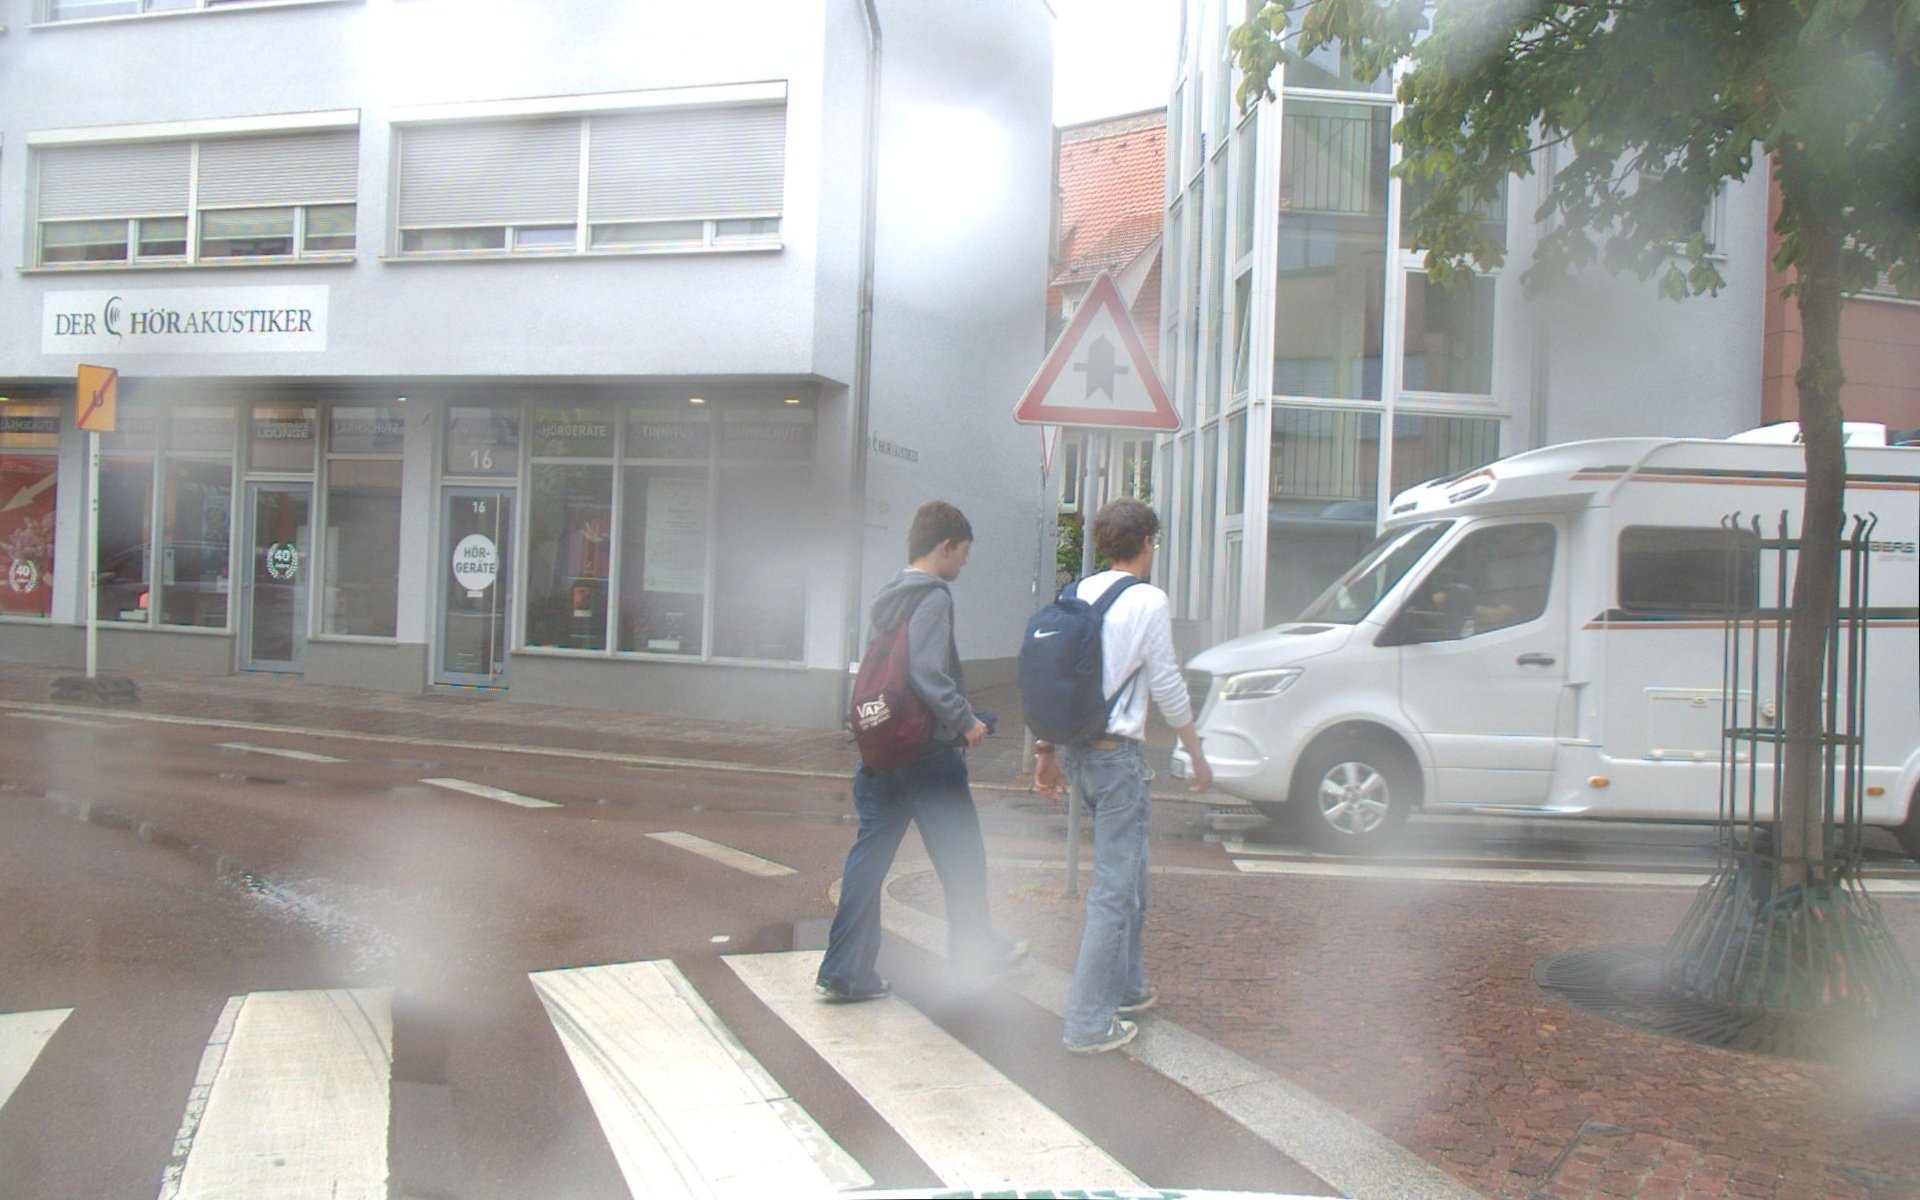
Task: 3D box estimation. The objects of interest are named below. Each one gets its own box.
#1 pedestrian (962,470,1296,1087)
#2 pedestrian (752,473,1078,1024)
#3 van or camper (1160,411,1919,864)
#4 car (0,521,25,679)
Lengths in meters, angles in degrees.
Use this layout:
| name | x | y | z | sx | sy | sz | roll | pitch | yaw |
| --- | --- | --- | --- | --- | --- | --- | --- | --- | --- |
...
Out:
| name | x | y | z | sx | sy | sz | roll | pitch | yaw |
| --- | --- | --- | --- | --- | --- | --- | --- | --- | --- |
| pedestrian | 0.595 | 0.535 | 5.556 | 0.652 | 1.838 | 1.057 | 1 | -1 | 34 |
| pedestrian | -0.142 | 0.496 | 6.127 | 0.680 | 1.832 | 1.055 | 1 | -1 | 34 |
| van or camper | 4.904 | 0.289 | 11.486 | 6.595 | 2.630 | 2.444 | 2 | 0 | -3 |
| car | -12.331 | -0.048 | 17.301 | 4.360 | 1.659 | 1.783 | 2 | 1 | 13 |
